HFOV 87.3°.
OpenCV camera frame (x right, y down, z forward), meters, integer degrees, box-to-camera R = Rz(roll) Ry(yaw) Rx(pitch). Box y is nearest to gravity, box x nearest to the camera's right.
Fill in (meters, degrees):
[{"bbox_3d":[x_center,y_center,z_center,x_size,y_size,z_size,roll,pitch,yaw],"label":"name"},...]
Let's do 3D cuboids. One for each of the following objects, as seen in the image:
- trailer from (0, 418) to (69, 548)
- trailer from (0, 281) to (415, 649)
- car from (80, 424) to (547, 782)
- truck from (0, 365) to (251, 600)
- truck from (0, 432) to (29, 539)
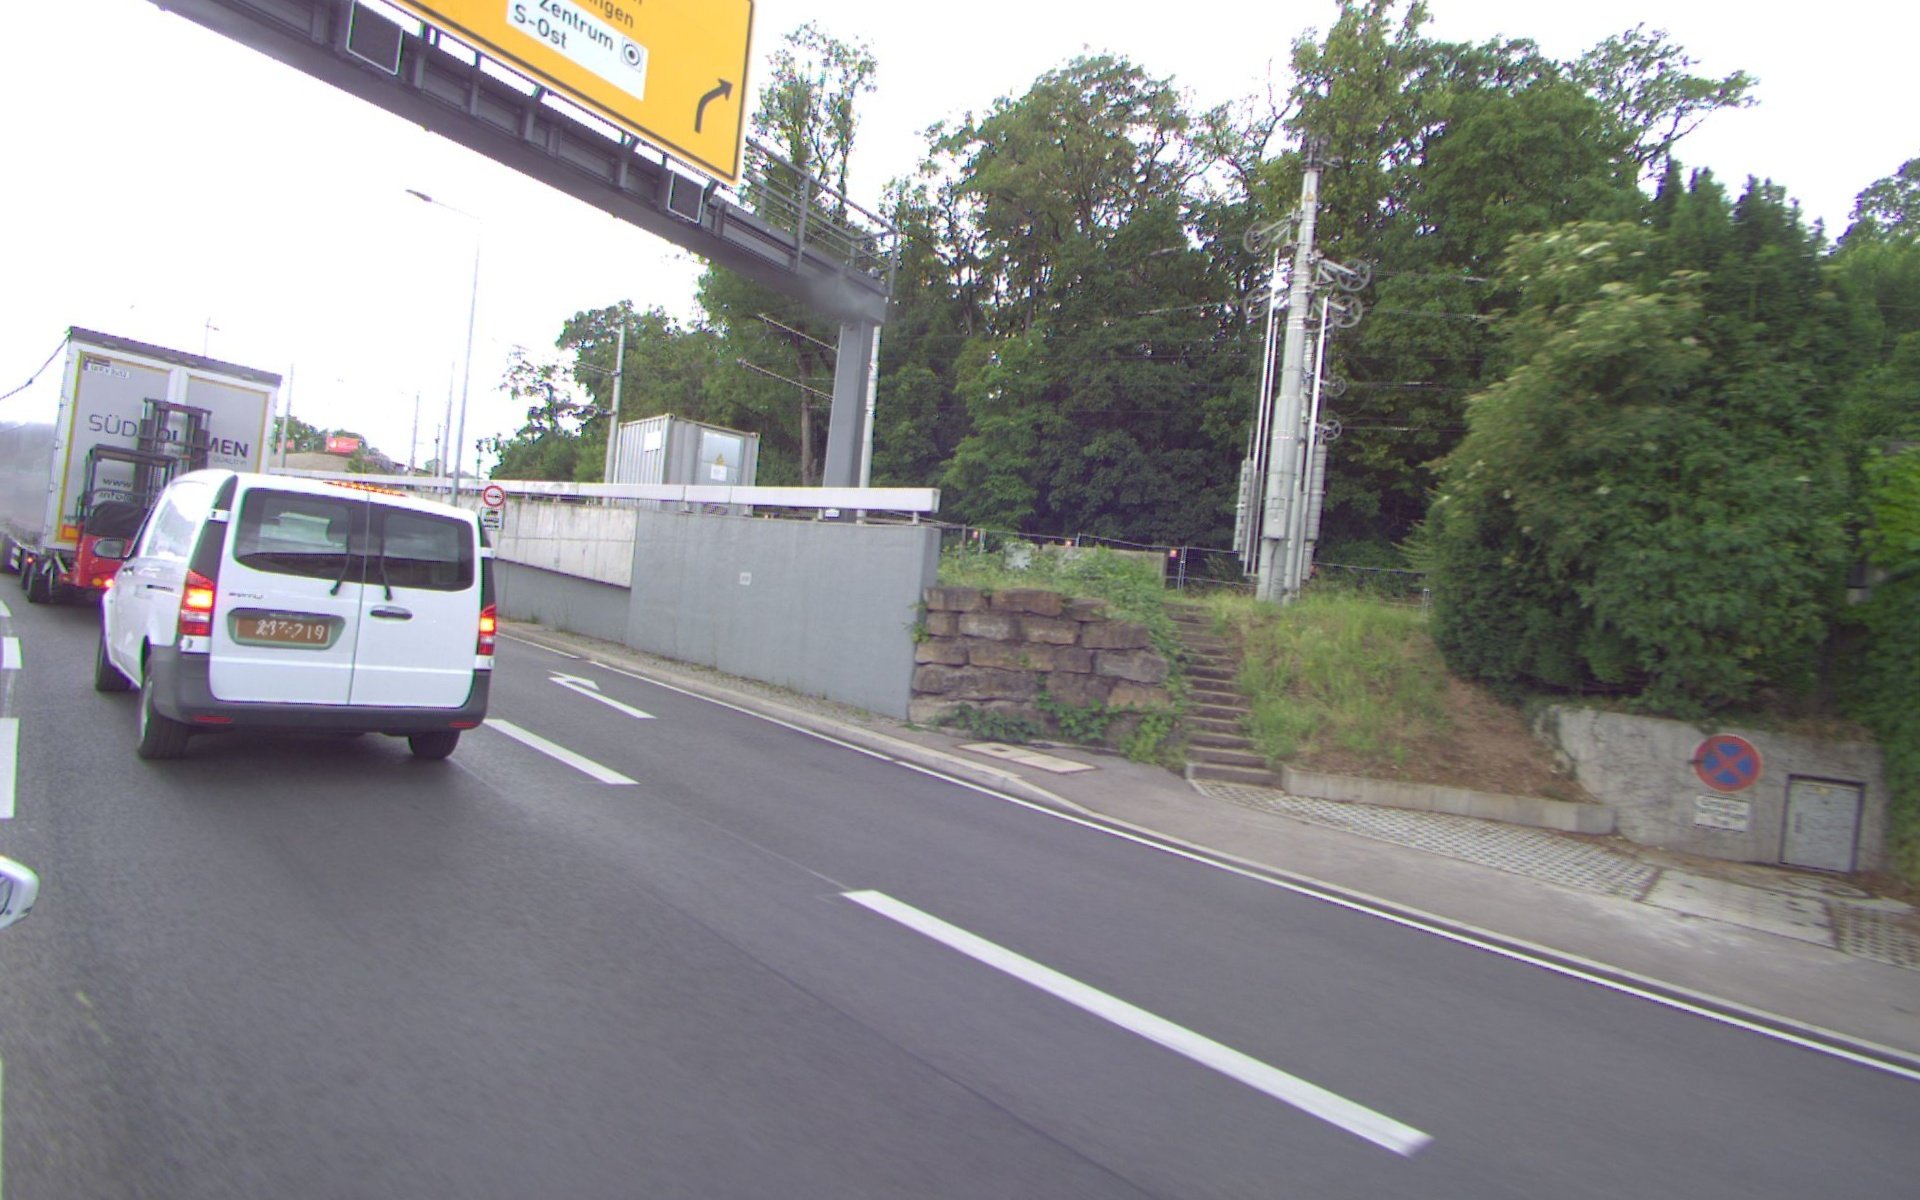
[{"bbox_3d":[-41.286,-5.040,42.136,11.940,4.685,3.804,6,-2,40],"label":"trailer"},{"bbox_3d":[-13.486,-1.934,17.250,10.838,4.189,3.719,5,-2,43],"label":"trailer"},{"bbox_3d":[-5.496,-0.028,8.149,1.989,2.013,5.134,9,-2,-45],"label":"car"},{"bbox_3d":[-21.313,-2.684,24.673,10.832,4.189,3.721,6,-2,42],"label":"truck"},{"bbox_3d":[-46.549,-5.564,46.534,7.335,4.685,3.804,6,-2,40],"label":"truck"}]
